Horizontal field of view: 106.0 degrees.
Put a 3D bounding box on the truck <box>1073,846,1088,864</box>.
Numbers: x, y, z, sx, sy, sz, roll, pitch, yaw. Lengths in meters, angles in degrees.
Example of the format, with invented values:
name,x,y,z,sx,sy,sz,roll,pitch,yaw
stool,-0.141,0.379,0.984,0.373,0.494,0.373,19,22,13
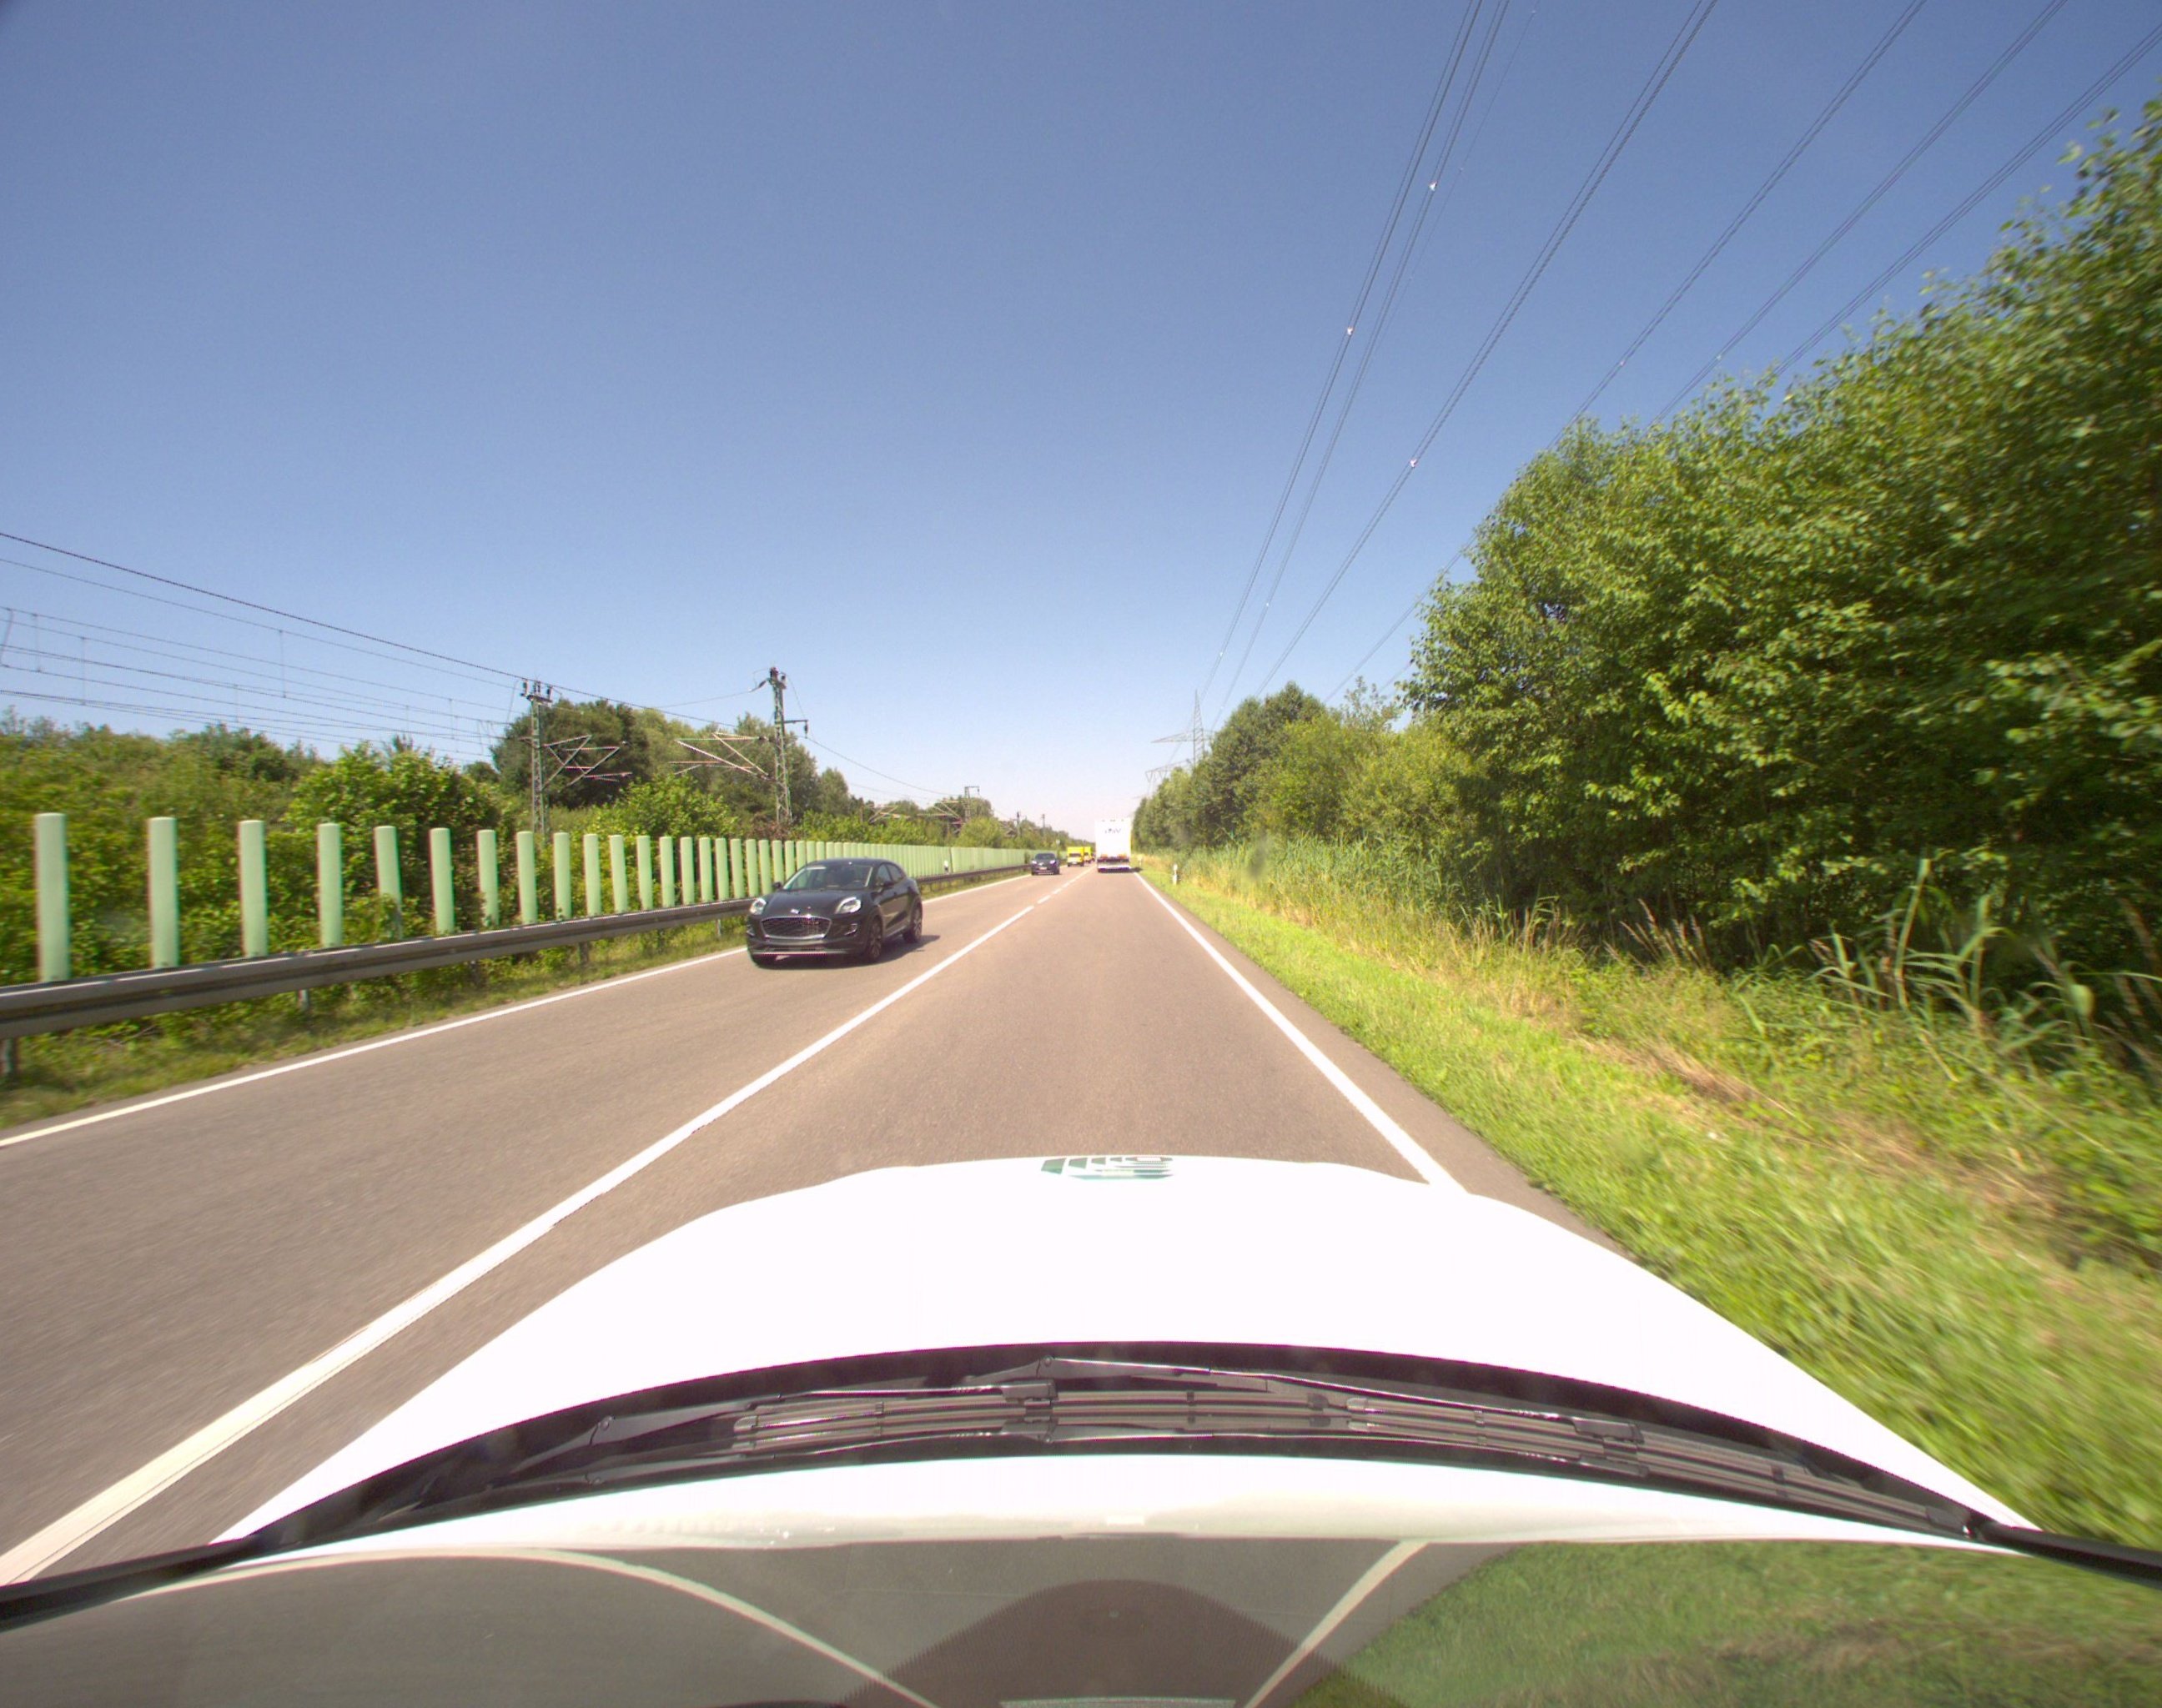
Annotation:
name,x,y,z,sx,sy,sz,roll,pitch,yaw
truck,-0.004,0.169,122.240,2.072,2.646,5.707,-1,0,2

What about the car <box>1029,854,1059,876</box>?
name,x,y,z,sx,sy,sz,roll,pitch,yaw
car,-2.716,0.798,60.243,1.794,1.587,4.373,-1,0,2

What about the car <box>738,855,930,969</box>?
name,x,y,z,sx,sy,sz,roll,pitch,yaw
car,-3.783,0.791,13.274,1.666,1.515,4.291,-1,0,2

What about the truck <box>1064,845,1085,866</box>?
name,x,y,z,sx,sy,sz,roll,pitch,yaw
truck,-0.720,0.169,95.343,1.985,2.348,6.016,-1,0,3

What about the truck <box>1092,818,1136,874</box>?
name,x,y,z,sx,sy,sz,roll,pitch,yaw
truck,2.651,-0.579,66.152,3.180,4.042,12.011,-2,0,2
